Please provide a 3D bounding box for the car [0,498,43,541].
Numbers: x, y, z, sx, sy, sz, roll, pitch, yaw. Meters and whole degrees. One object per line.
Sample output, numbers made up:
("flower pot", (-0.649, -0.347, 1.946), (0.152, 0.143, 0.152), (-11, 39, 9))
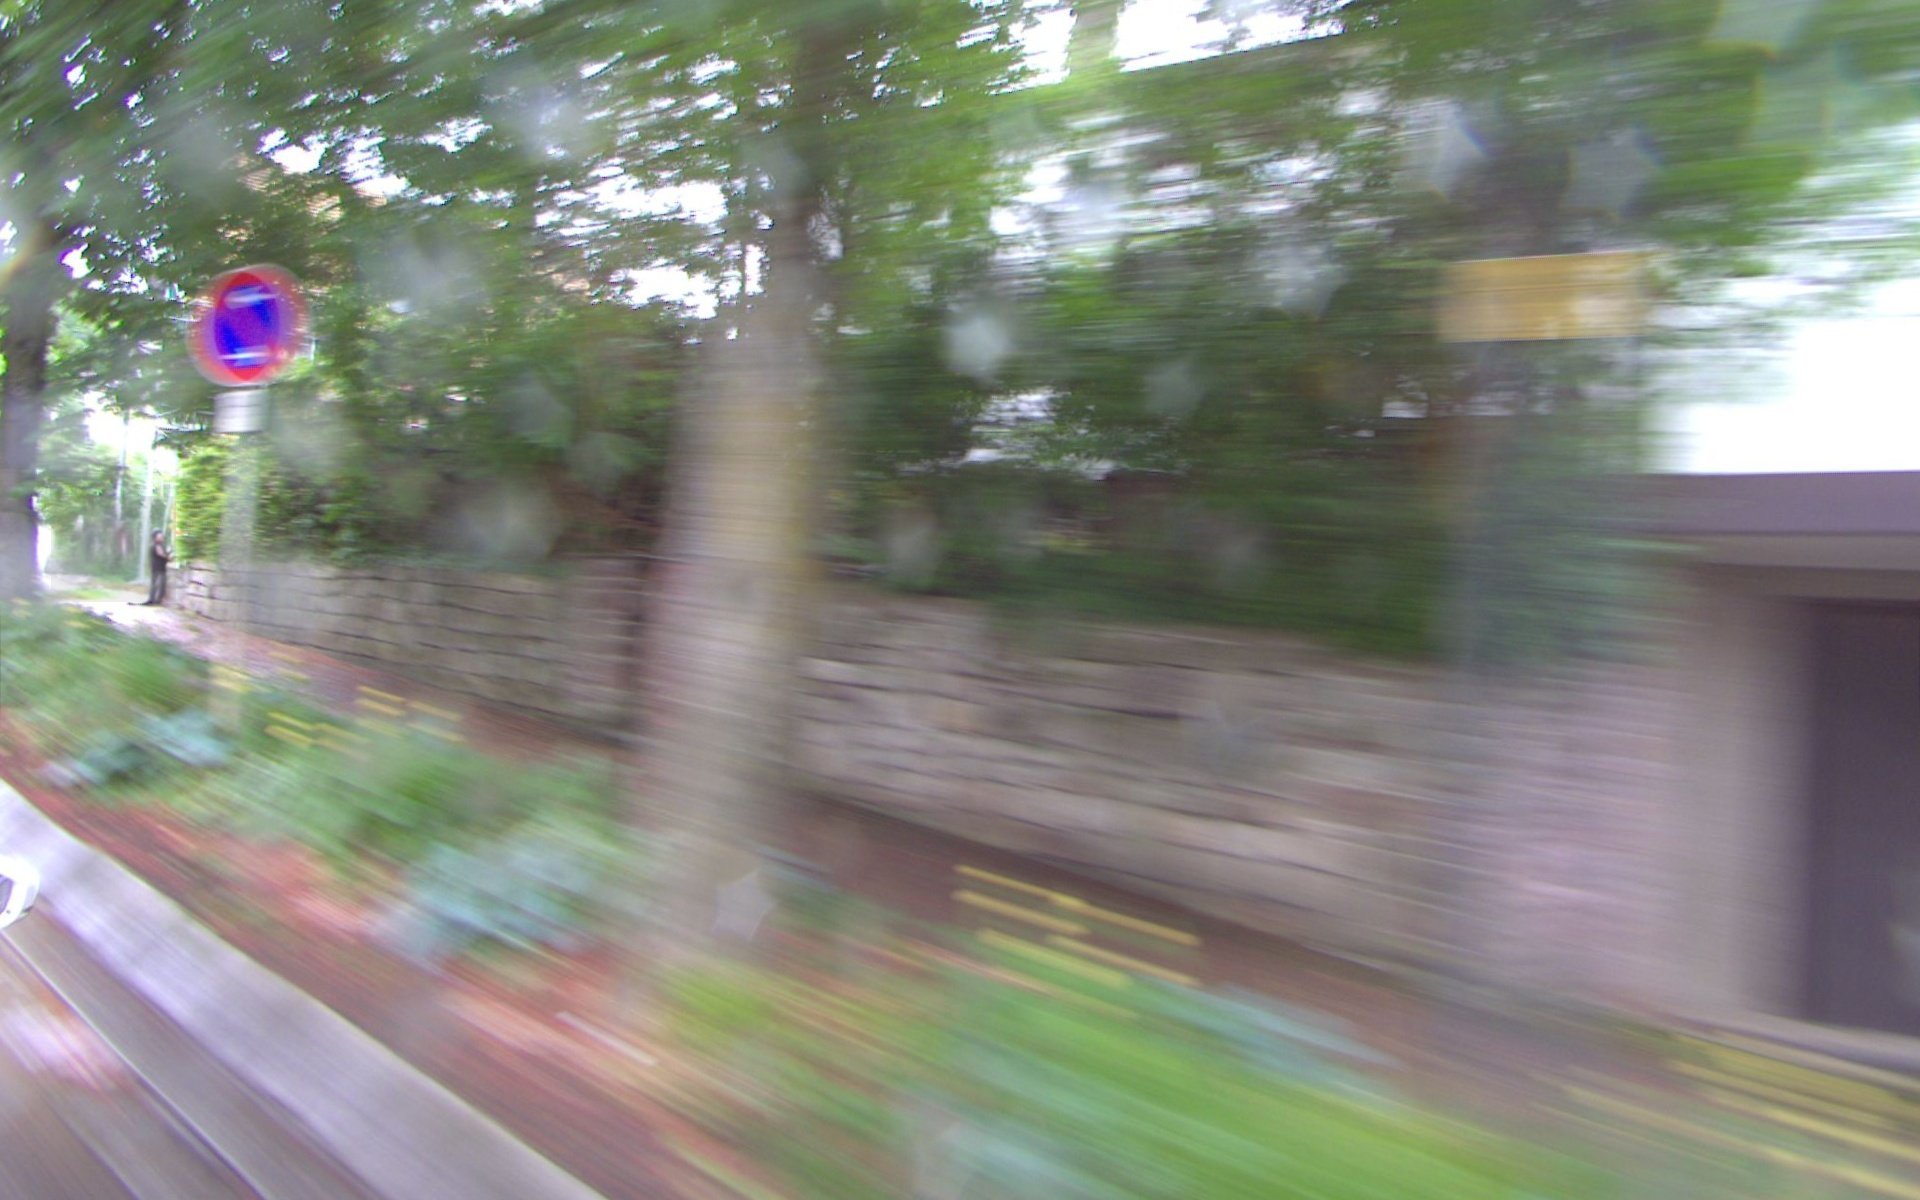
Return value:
("car", (-48.165, -4.091, 50.944), (1.983, 1.917, 3.961), (7, -1, -36))
